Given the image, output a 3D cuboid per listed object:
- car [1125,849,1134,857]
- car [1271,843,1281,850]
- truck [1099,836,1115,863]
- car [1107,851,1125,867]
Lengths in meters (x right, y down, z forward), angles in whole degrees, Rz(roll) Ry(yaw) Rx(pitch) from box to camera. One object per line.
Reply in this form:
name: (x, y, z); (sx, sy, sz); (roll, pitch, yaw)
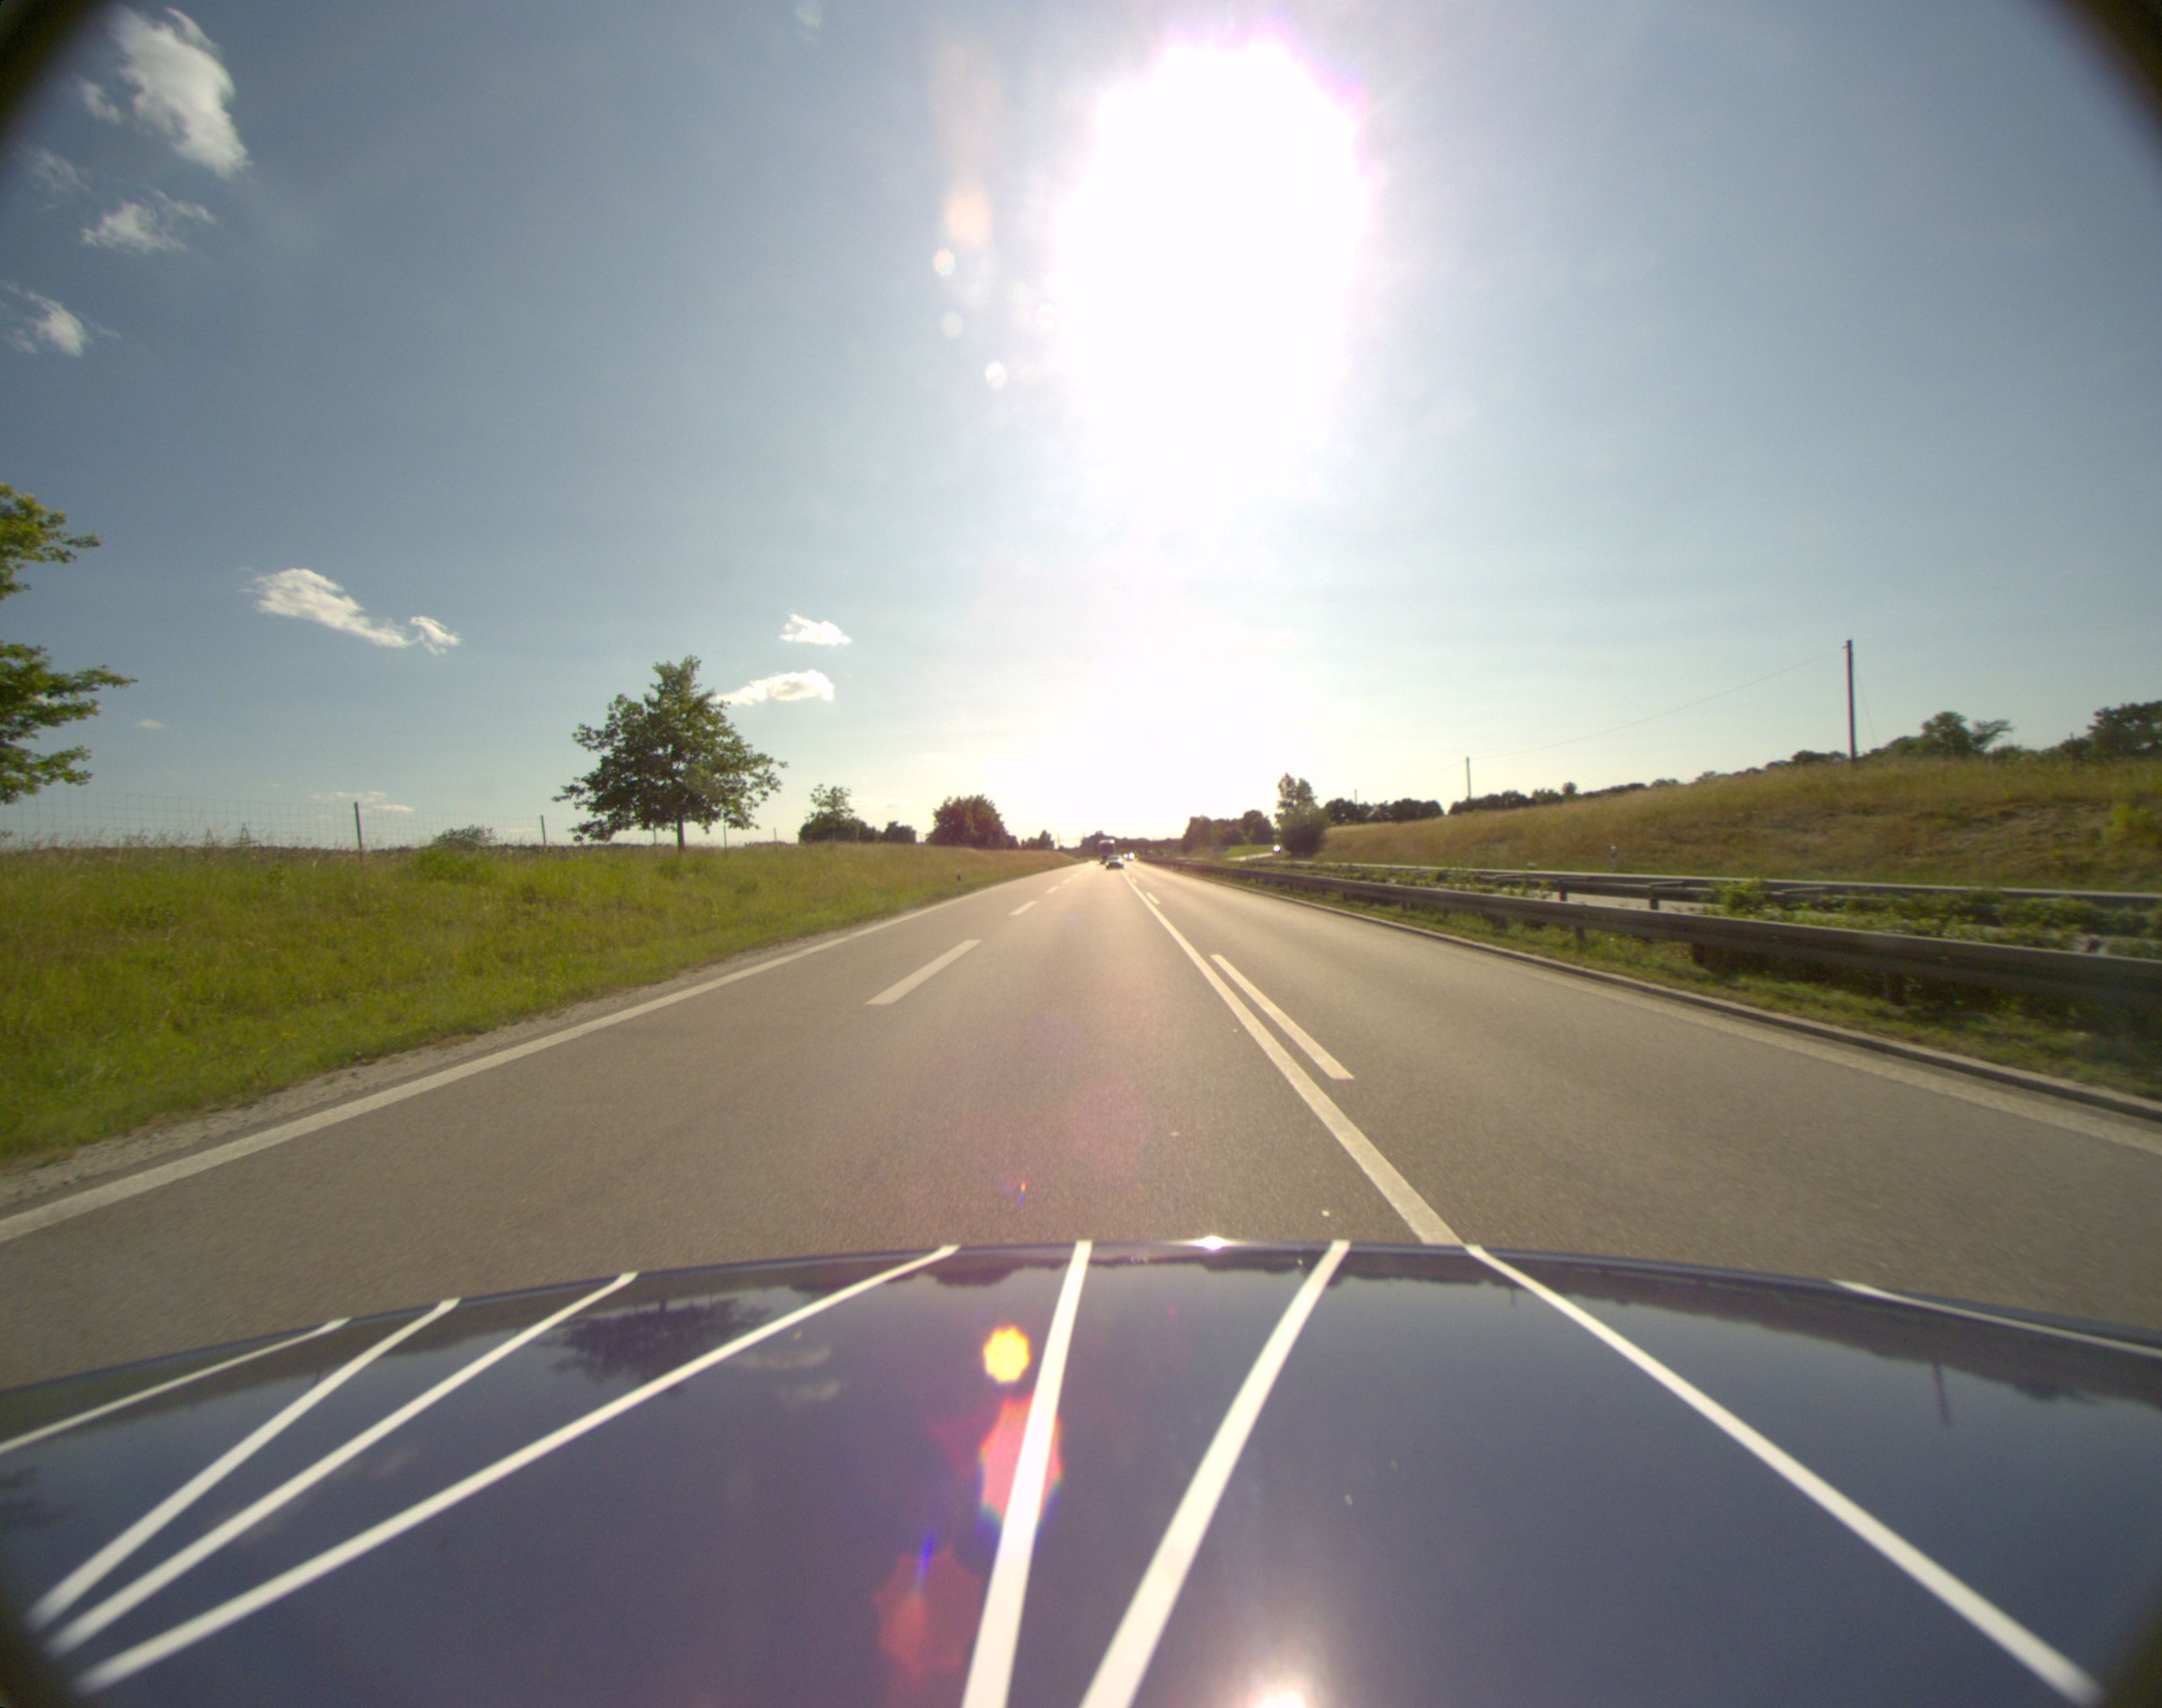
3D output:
car: (10.843, -0.247, 169.203); (1.998, 1.652, 4.001); (-1, 0, 3)
car: (41.615, -1.560, 162.061); (1.669, 1.368, 4.005); (0, 1, 20)
truck: (4.494, -0.849, 129.146); (2.536, 4.228, 11.266); (-2, 1, 3)
car: (3.661, 0.516, 79.458); (1.870, 1.514, 4.284); (-1, 0, 3)
